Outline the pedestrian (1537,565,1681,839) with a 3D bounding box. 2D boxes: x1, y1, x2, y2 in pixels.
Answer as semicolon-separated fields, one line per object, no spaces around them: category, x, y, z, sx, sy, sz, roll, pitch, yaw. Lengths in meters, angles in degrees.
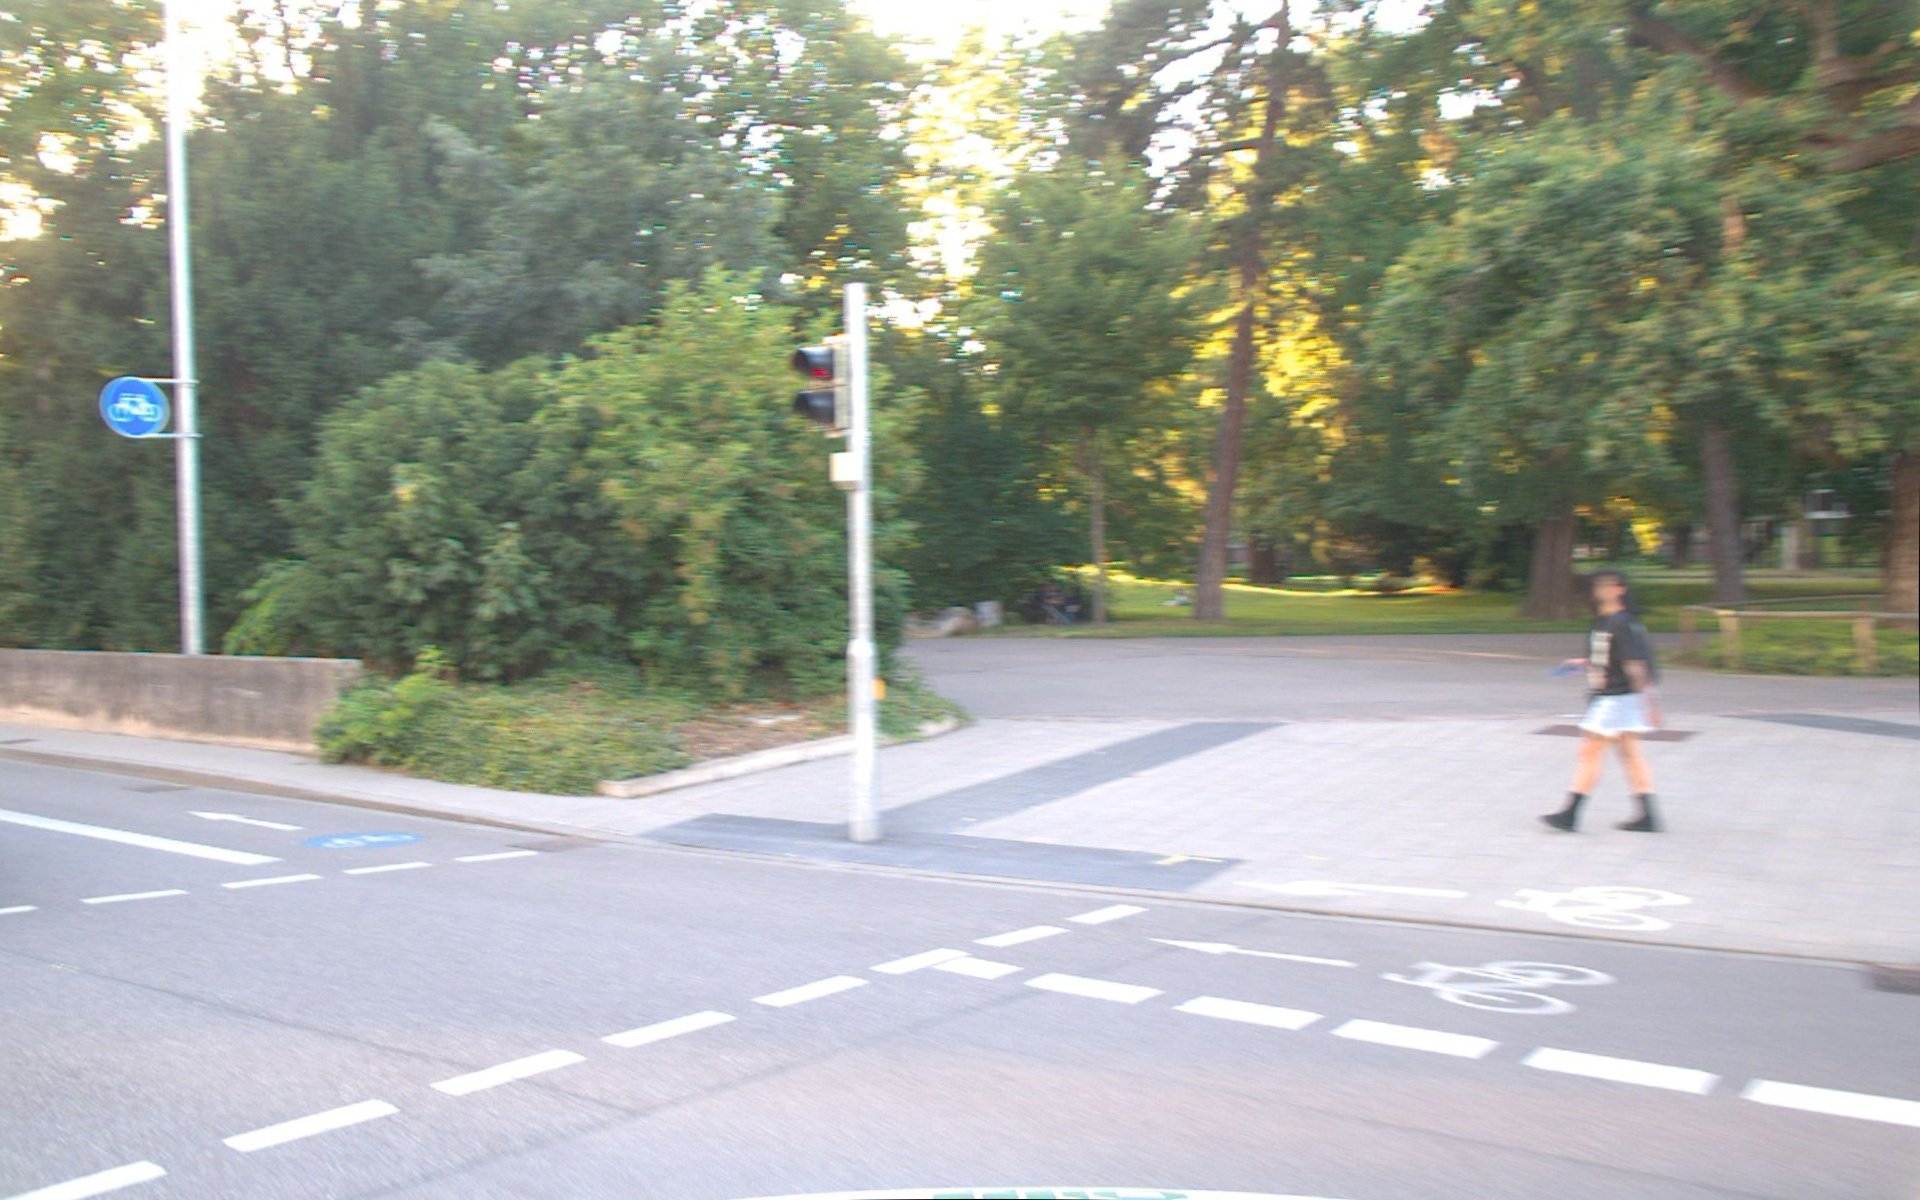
pedestrian;3.848;0.575;9.800;0.608;1.529;0.577;0;3;42
